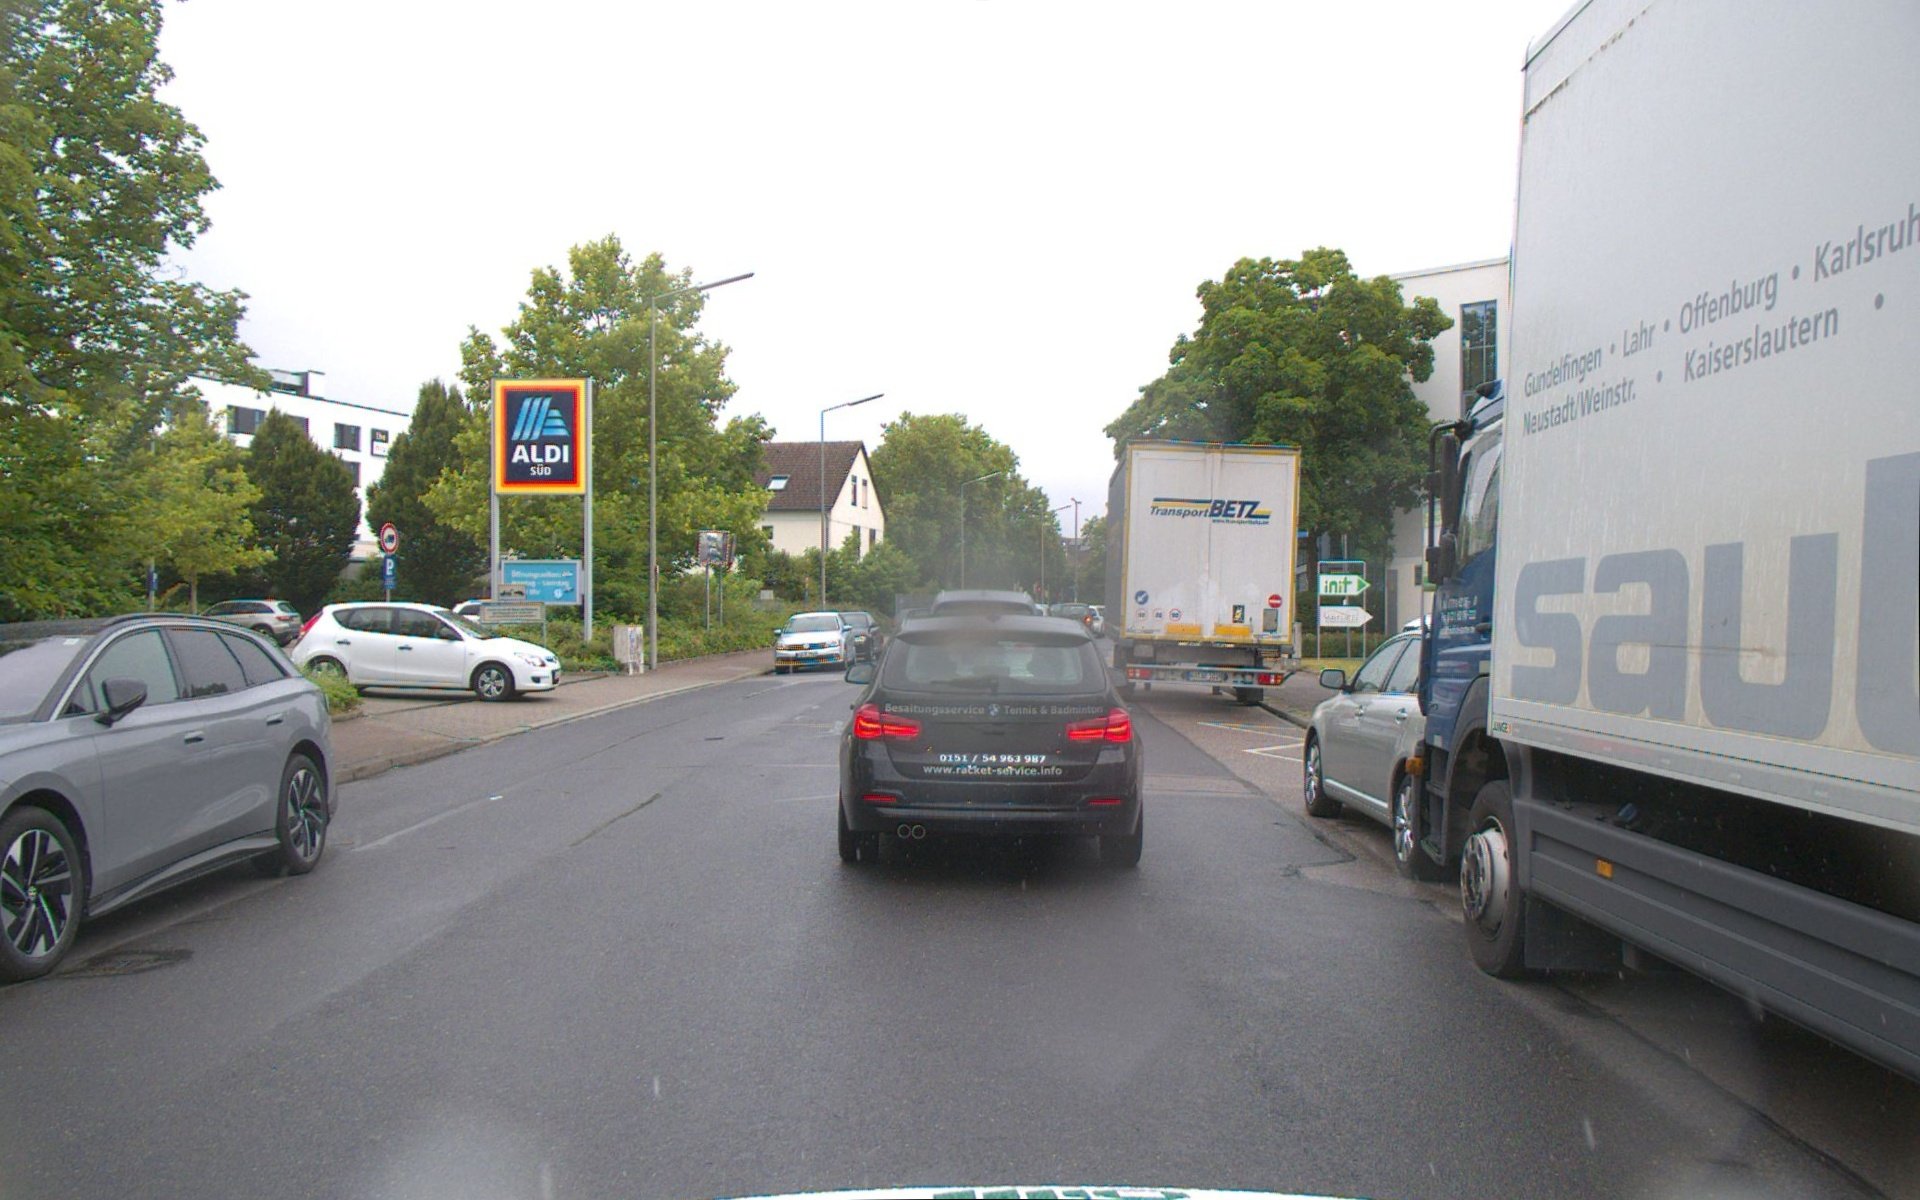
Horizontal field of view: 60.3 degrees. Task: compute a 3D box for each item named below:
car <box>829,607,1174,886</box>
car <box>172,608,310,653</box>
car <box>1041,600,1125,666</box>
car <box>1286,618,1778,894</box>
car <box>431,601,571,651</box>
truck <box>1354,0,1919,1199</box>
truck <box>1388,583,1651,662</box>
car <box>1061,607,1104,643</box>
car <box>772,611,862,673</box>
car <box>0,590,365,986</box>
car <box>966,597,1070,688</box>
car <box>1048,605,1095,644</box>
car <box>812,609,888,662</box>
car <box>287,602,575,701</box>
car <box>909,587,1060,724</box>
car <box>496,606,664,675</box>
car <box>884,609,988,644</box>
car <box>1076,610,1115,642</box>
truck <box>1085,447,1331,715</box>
[{"bbox_3d":[0.146,0.785,10.567,1.768,1.419,3.998,1,-1,-2],"label":"car"},{"bbox_3d":[-24.941,1.057,57.483,3.904,1.526,2.000,0,0,1],"label":"car"},{"bbox_3d":[3.361,0.913,45.949,1.953,1.713,3.999,1,-1,-1],"label":"car"},{"bbox_3d":[3.529,0.864,11.132,1.761,1.466,4.344,0,0,-1],"label":"car"},{"bbox_3d":[-14.611,0.818,52.777,3.905,1.567,1.911,0,0,0],"label":"car"},{"bbox_3d":[3.458,-0.394,3.926,2.685,3.855,9.298,3,0,0],"label":"truck"},{"bbox_3d":[15.824,0.623,47.045,6.780,2.177,2.095,0,0,1],"label":"truck"},{"bbox_3d":[5.777,1.181,77.789,1.766,1.614,4.003,1,-1,7],"label":"car"},{"bbox_3d":[-3.524,1.012,41.484,1.670,1.391,4.602,-2,0,2],"label":"car"},{"bbox_3d":[-4.726,0.813,8.293,1.772,1.555,4.746,-4,-1,-1],"label":"car"},{"bbox_3d":[1.178,0.790,31.946,1.766,1.614,4.002,1,-1,5],"label":"car"},{"bbox_3d":[4.833,1.057,71.380,1.766,1.614,4.003,1,-1,7],"label":"car"},{"bbox_3d":[-3.123,0.982,47.454,1.670,1.391,3.839,-2,0,3],"label":"car"},{"bbox_3d":[-8.485,0.817,26.799,4.107,1.485,1.711,1,-1,-3],"label":"car"},{"bbox_3d":[0.234,0.694,21.852,1.768,1.614,3.998,1,-1,-2],"label":"car"},{"bbox_3d":[-8.924,0.936,39.064,3.496,1.485,1.712,2,0,1],"label":"car"},{"bbox_3d":[-0.926,1.041,65.946,4.100,1.386,1.589,0,0,0],"label":"car"},{"bbox_3d":[7.044,1.336,85.720,1.766,1.614,4.003,1,-1,7],"label":"car"},{"bbox_3d":[3.807,-0.251,27.266,2.685,3.674,7.748,2,0,-1],"label":"truck"}]
